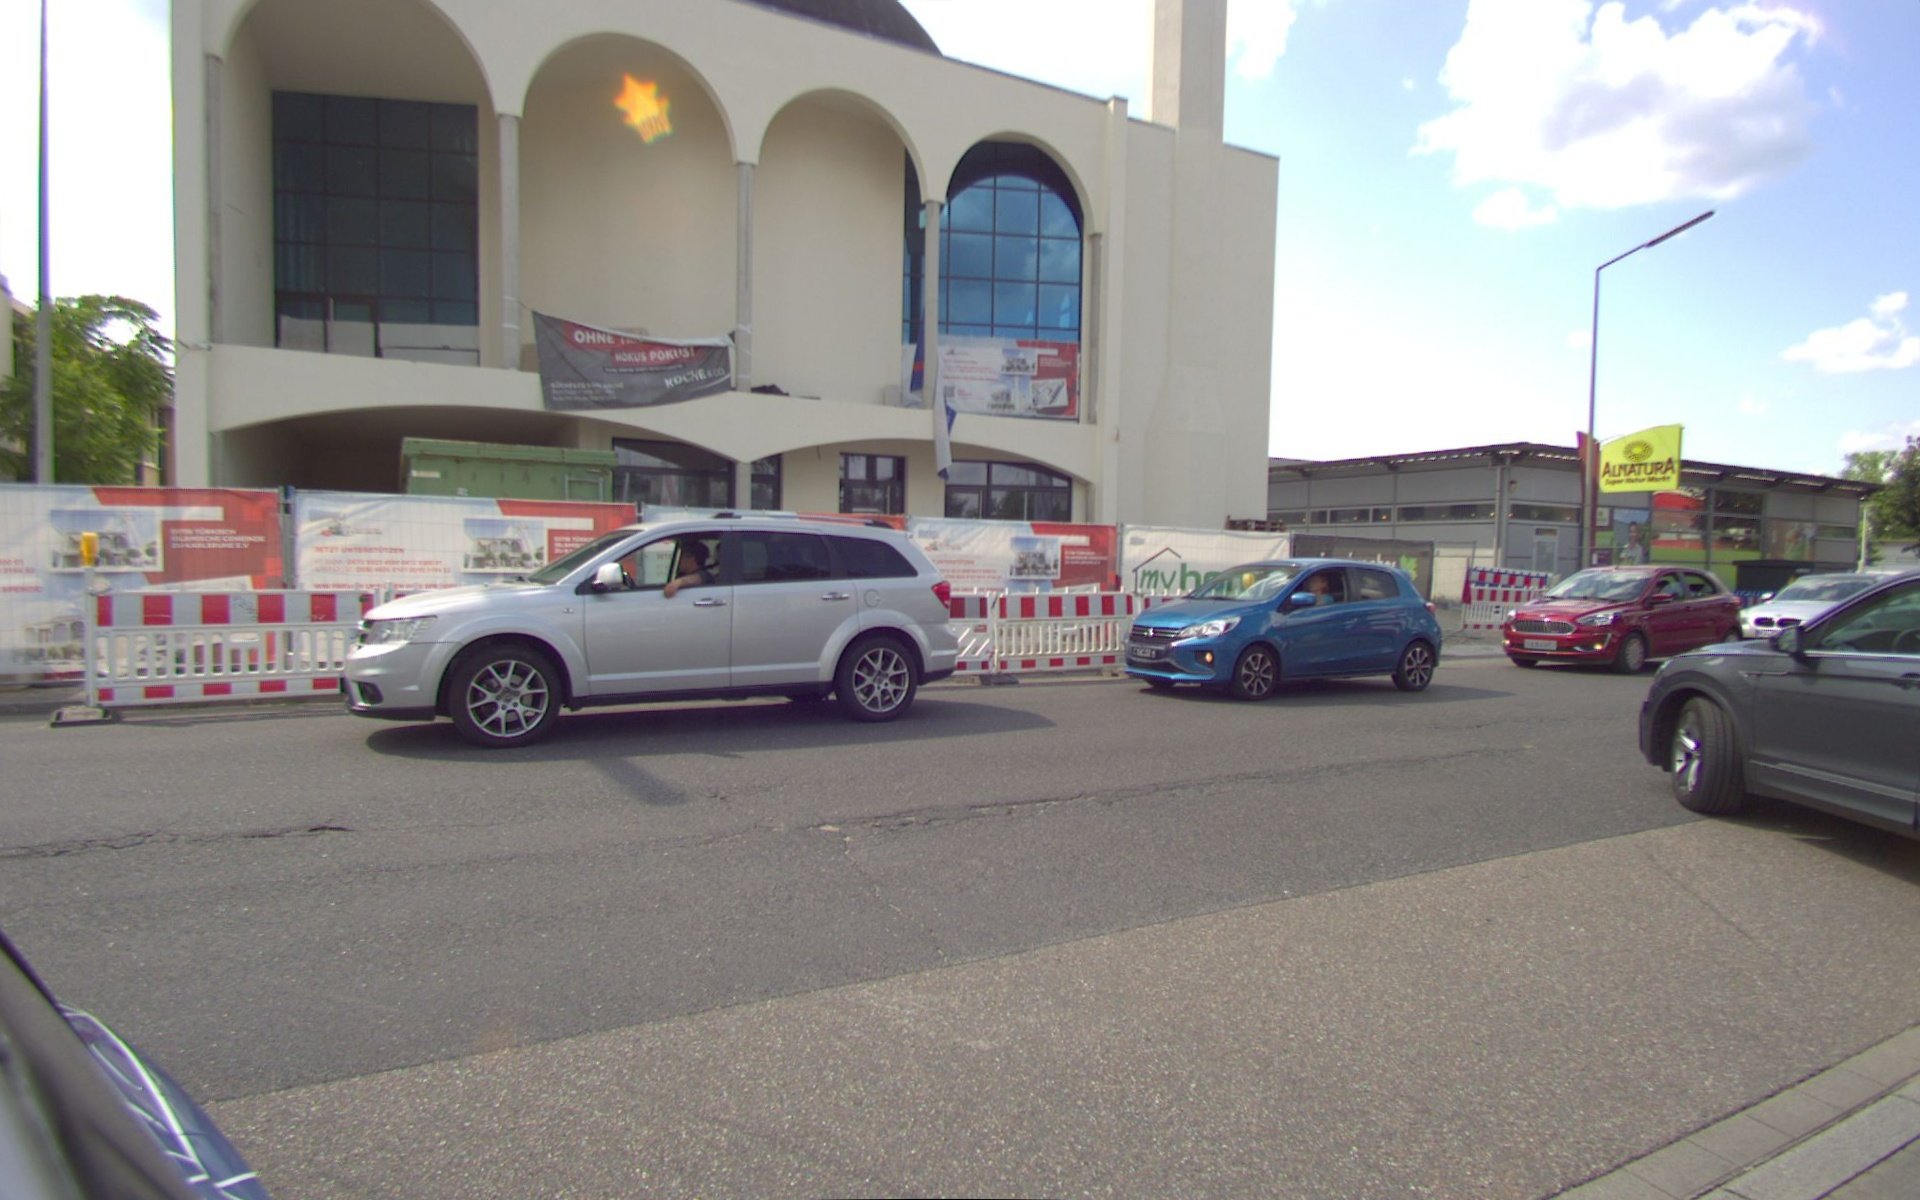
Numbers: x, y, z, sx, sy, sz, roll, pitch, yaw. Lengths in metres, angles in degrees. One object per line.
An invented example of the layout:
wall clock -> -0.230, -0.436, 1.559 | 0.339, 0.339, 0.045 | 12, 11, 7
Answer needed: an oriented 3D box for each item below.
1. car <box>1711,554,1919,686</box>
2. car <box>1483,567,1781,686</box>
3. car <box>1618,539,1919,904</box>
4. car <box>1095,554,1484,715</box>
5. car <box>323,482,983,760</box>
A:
car -> 15.246, 0.279, 17.382 | 4.382, 2.028, 1.931 | 0, 2, -27
car -> 9.875, 0.319, 14.848 | 4.121, 1.520, 1.798 | 0, 2, -27
car -> 5.297, 0.566, 4.583 | 1.745, 1.678, 4.386 | 1, 0, 0
car -> 3.729, 0.301, 11.340 | 4.123, 1.525, 1.703 | 0, 2, -28
car -> -2.340, 0.141, 8.245 | 4.757, 1.712, 1.874 | 1, 1, -31
